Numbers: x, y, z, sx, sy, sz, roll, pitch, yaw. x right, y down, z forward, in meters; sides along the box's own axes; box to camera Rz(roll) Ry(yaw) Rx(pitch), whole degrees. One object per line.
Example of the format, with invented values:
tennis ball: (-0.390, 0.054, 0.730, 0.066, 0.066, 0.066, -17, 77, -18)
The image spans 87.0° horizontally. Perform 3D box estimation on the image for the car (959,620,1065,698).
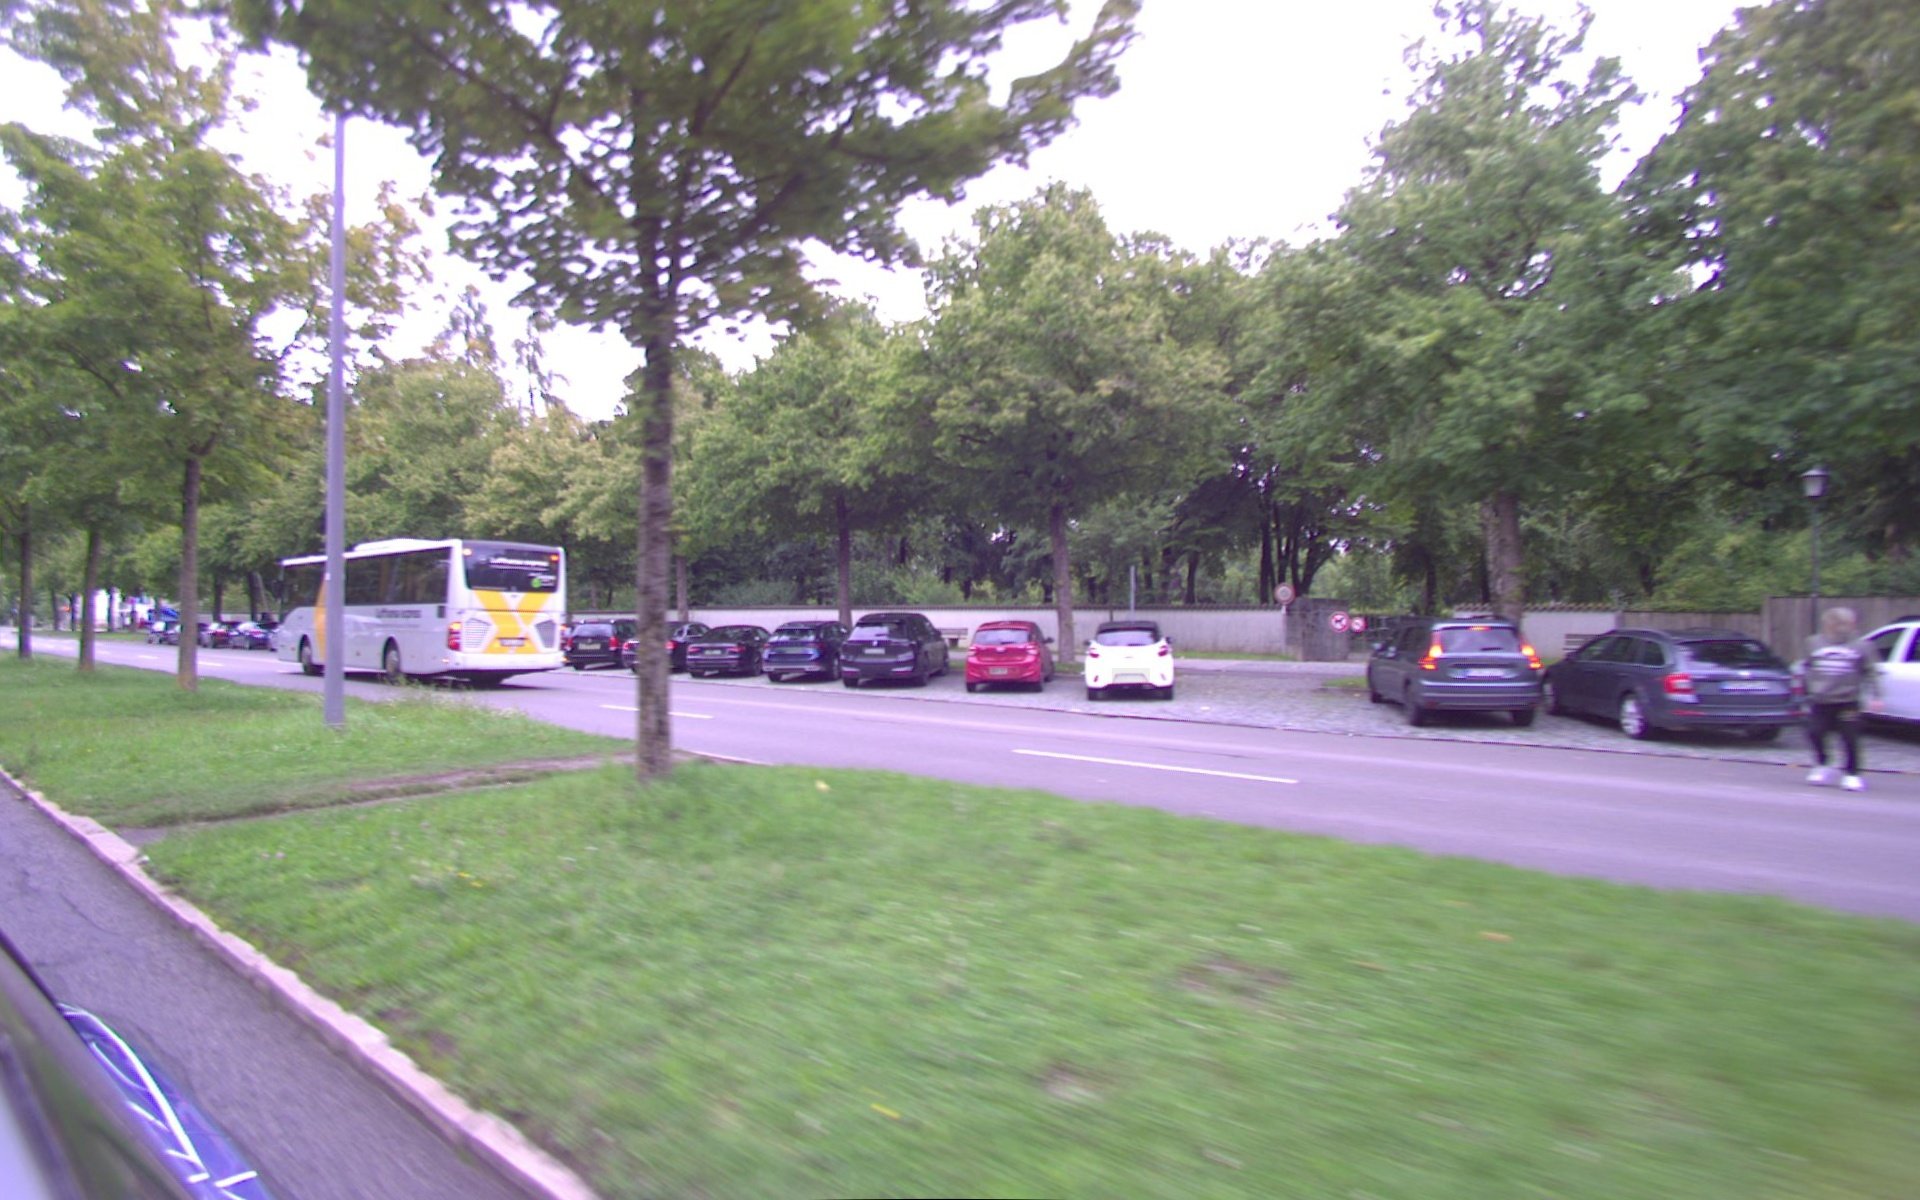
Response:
car: (1.267, 1.269, 22.914, 1.723, 1.466, 3.984, -2, 0, 13)

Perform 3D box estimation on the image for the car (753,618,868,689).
car: (-3.756, 1.315, 26.132, 1.870, 1.569, 3.990, -2, 0, 8)

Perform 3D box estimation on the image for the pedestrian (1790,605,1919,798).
pedestrian: (8.494, 0.913, 9.547, 0.859, 1.711, 0.773, 2, -1, -29)

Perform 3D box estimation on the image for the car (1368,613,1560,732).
car: (8.027, 1.083, 16.523, 1.783, 1.599, 3.985, -2, 0, 12)

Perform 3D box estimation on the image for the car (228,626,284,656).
car: (-36.745, 2.105, 52.801, 4.171, 1.381, 1.718, -1, 0, 45)

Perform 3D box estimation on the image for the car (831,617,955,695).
car: (-1.505, 1.279, 24.263, 1.873, 1.569, 3.984, -2, 0, 13)

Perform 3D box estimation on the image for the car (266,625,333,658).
car: (-31.957, 1.970, 48.925, 4.171, 1.454, 1.864, -1, 0, 45)

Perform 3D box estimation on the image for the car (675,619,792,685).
car: (-6.234, 1.383, 28.300, 1.870, 1.569, 3.990, -2, 0, 8)

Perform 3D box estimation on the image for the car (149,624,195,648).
car: (-51.427, 2.302, 65.997, 4.171, 1.454, 1.864, -1, 0, 45)

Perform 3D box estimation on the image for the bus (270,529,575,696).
bus: (-13.821, 0.349, 25.195, 11.922, 3.323, 2.641, -1, -3, 42)

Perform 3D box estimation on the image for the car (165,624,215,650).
car: (-47.270, 2.256, 62.110, 4.171, 1.454, 1.864, -1, 0, 45)

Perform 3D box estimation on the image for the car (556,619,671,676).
car: (-11.026, 1.472, 32.542, 1.870, 1.569, 3.990, -2, 0, 8)

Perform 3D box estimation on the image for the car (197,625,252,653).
car: (-41.093, 2.151, 56.534, 4.171, 1.454, 1.864, -1, 0, 45)

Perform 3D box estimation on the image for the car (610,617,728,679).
car: (-8.555, 1.381, 30.089, 1.870, 1.569, 3.990, -2, 0, 8)

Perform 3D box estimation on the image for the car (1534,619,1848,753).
car: (10.024, 1.089, 14.323, 1.779, 1.497, 3.993, -2, 0, 6)

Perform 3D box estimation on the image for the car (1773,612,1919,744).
car: (12.720, 0.971, 12.748, 1.779, 1.585, 4.316, -1, 0, 6)

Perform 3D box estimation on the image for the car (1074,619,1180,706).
car: (3.534, 1.209, 20.876, 1.873, 1.474, 3.984, -2, 0, 13)
